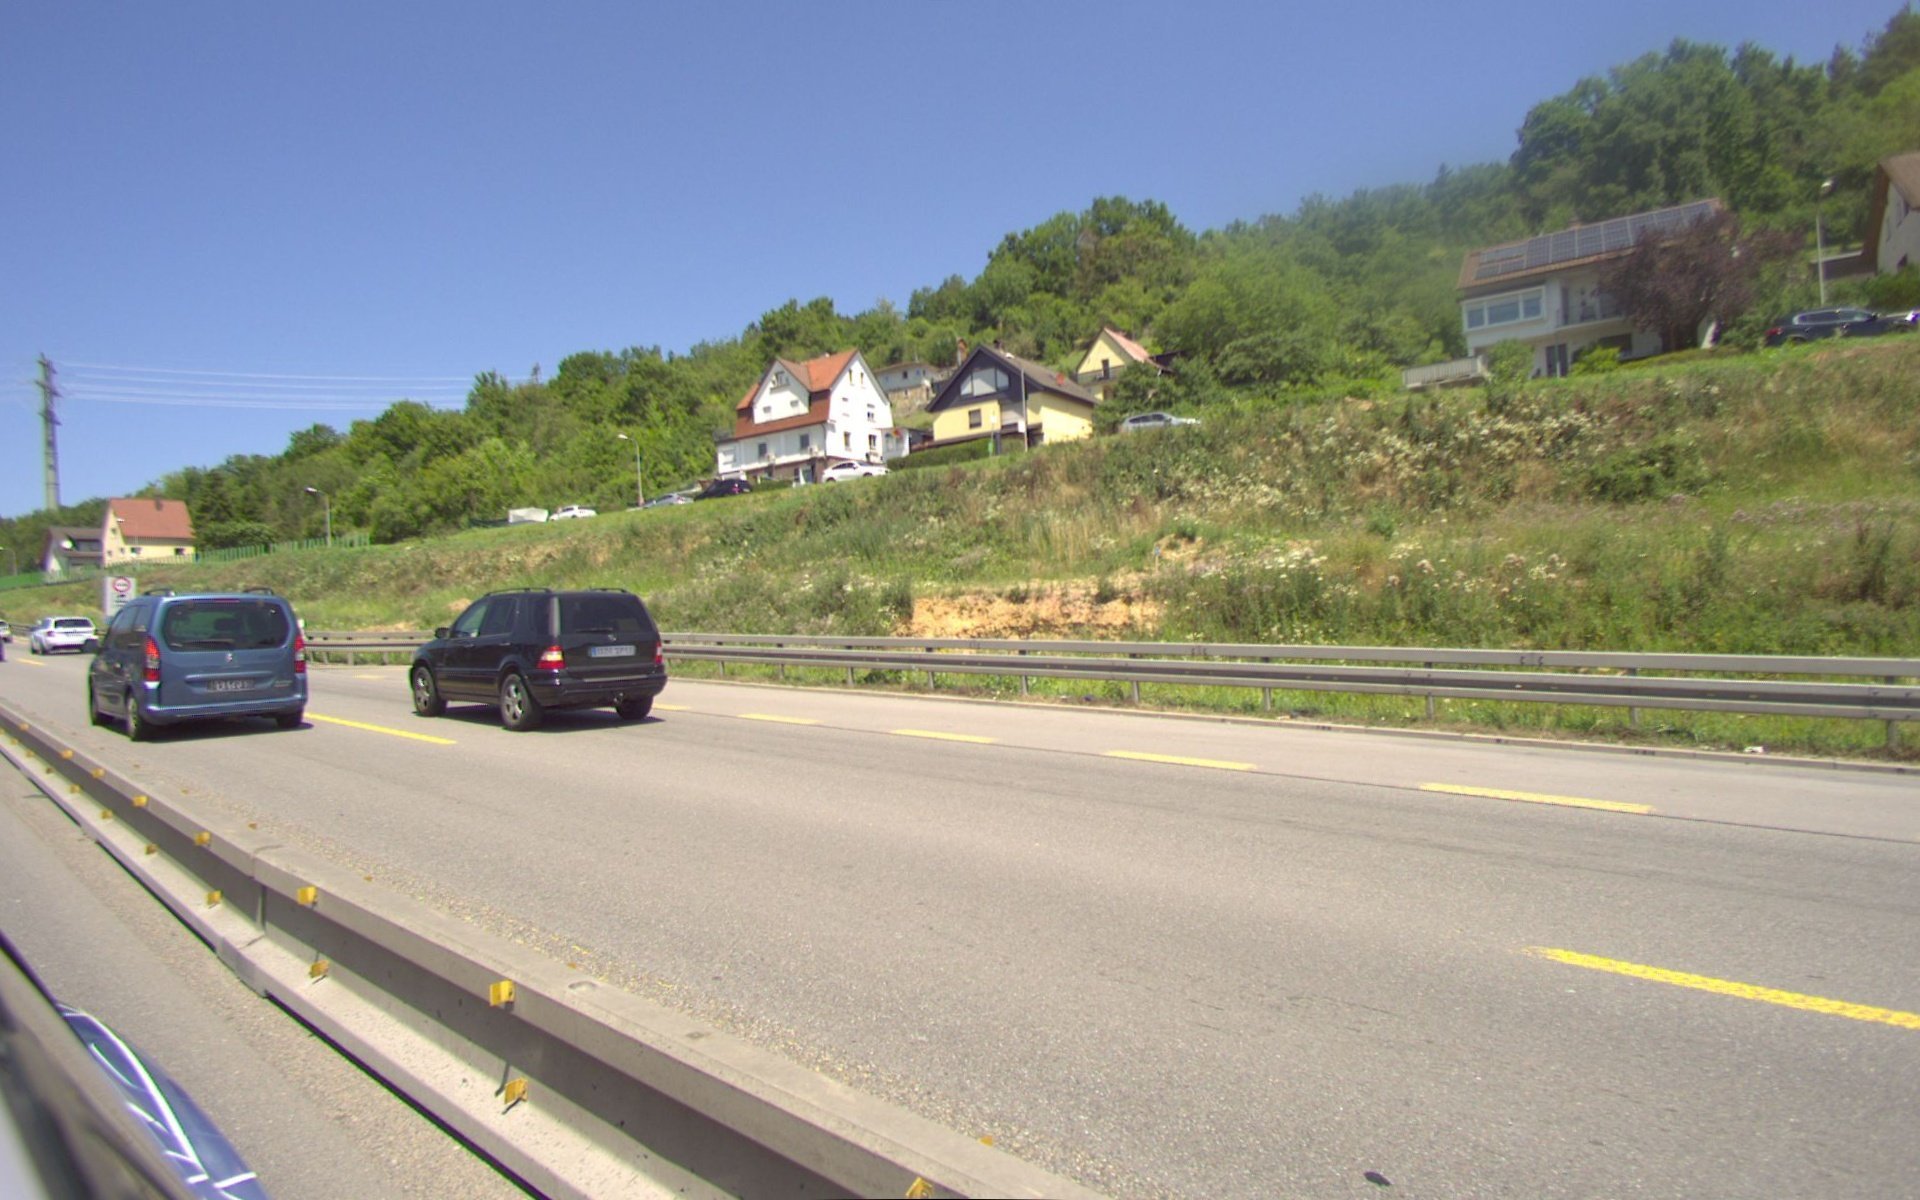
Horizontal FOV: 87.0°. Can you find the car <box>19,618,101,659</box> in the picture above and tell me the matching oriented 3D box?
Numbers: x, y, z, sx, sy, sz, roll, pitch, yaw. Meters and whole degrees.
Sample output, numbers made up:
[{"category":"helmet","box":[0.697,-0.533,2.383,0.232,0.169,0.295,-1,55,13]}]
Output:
[{"category":"car","box":[-35.533,1.499,39.927,4.596,1.508,1.785,-1,-1,40]}]

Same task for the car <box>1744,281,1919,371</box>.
[{"category":"car","box":[28.280,-8.762,32.521,4.752,1.807,2.160,0,1,35]}]

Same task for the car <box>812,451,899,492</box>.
[{"category":"car","box":[-6.098,-7.441,58.967,5.000,1.807,1.977,0,1,35]}]

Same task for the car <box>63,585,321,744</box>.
[{"category":"car","box":[-10.506,0.770,13.695,4.879,1.791,1.827,-1,-1,41]}]

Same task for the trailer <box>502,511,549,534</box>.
[{"category":"trailer","box":[-33.178,-5.898,77.233,3.026,1.527,1.888,0,1,31]}]

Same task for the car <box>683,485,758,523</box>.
[{"category":"car","box":[-15.622,-6.199,65.889,4.963,2.023,2.052,0,1,36]}]

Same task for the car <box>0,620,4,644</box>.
[{"category":"car","box":[-59.033,1.941,60.841,4.553,1.442,1.791,-1,0,41]}]

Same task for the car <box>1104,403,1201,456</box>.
[{"category":"car","box":[8.928,-7.871,47.014,3.990,1.807,1.977,0,1,35]}]

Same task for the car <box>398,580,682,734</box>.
[{"category":"car","box":[-5.865,0.695,13.859,4.494,1.779,1.809,-1,-1,41]}]

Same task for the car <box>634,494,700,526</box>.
[{"category":"car","box":[-19.912,-6.073,68.697,4.421,1.886,1.976,0,1,36]}]

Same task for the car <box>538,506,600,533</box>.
[{"category":"car","box":[-28.768,-5.895,74.415,4.537,1.668,1.979,0,1,32]}]
